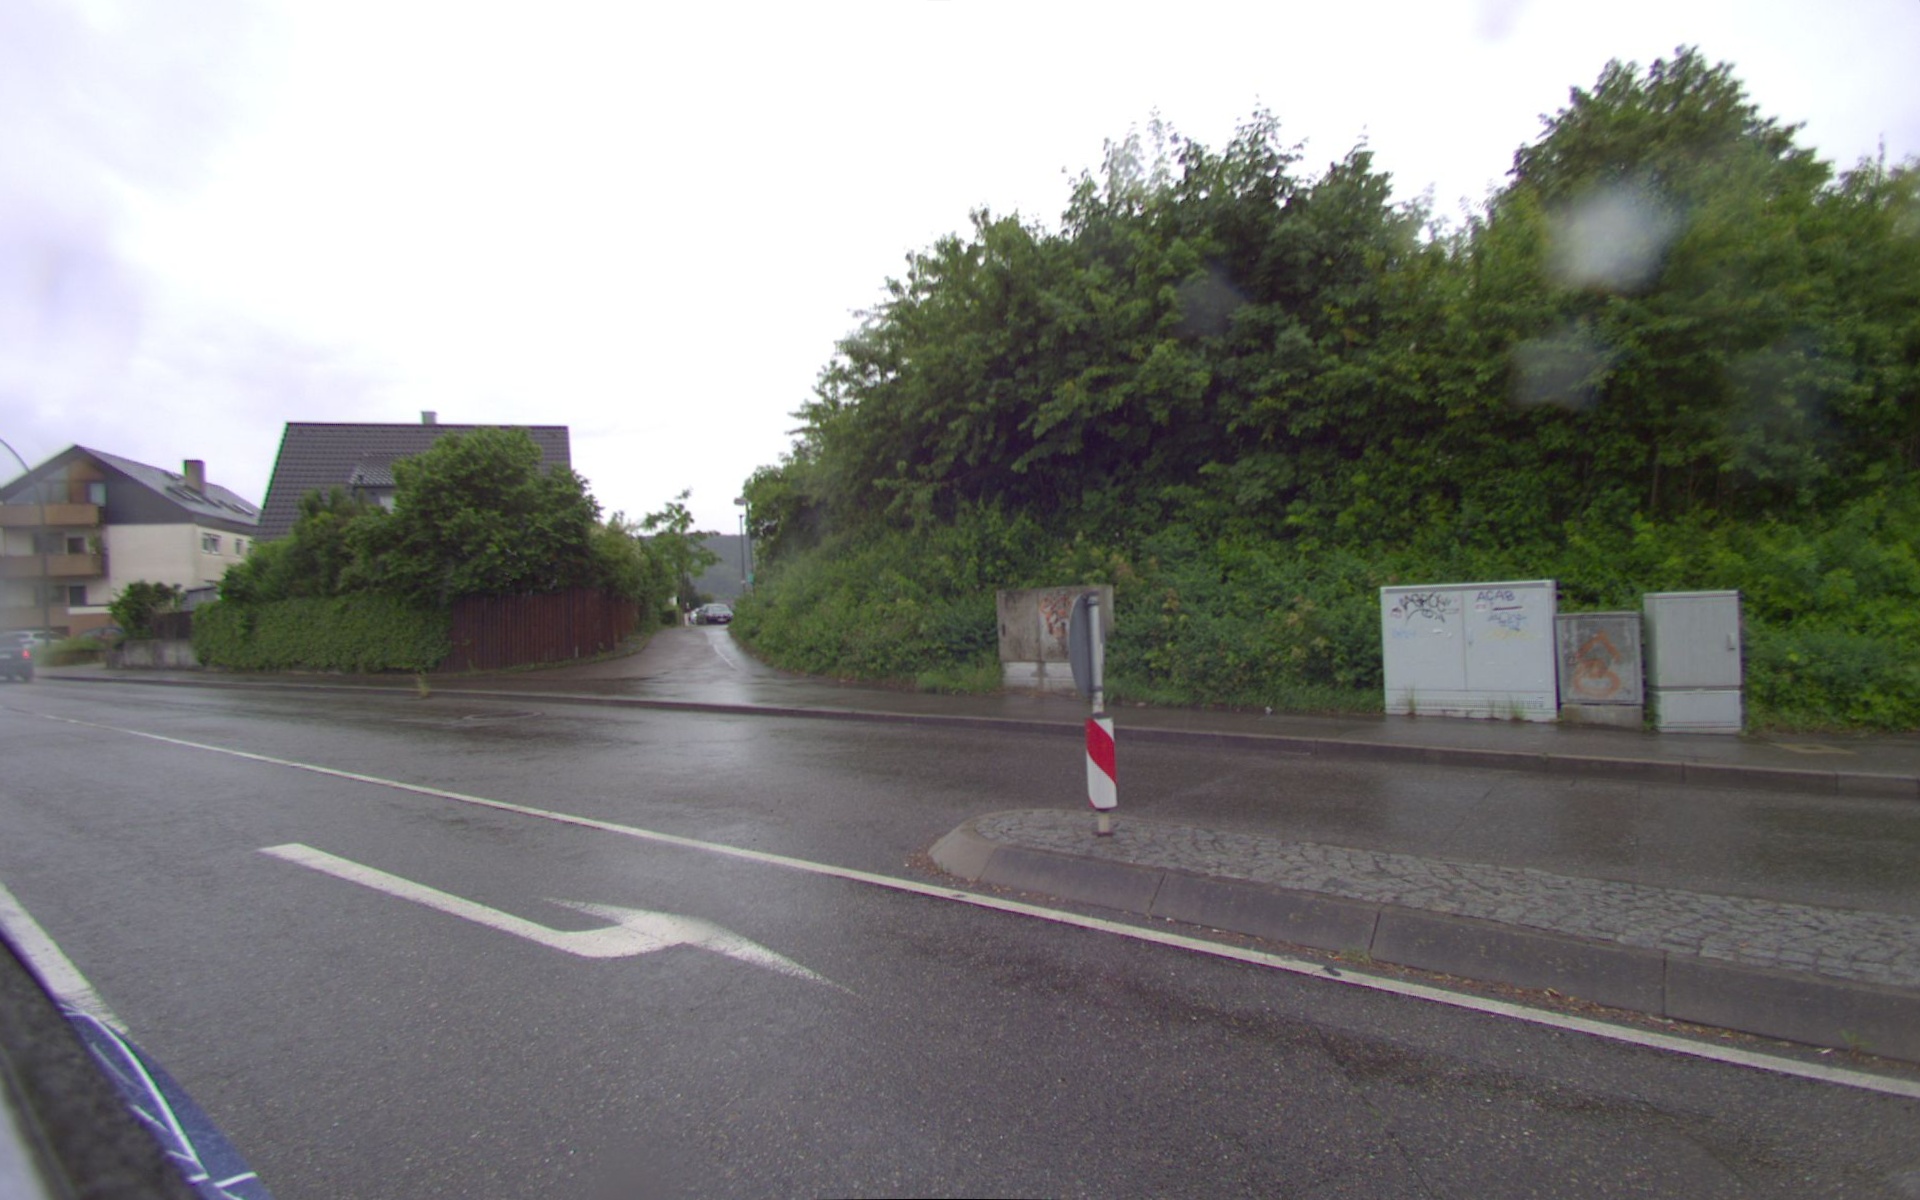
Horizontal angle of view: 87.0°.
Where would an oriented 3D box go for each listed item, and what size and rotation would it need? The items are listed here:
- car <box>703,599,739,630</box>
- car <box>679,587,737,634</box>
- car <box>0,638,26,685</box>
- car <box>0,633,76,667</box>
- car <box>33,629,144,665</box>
[{"bbox_3d":[-15.583,0.941,66.174,1.968,1.873,4.008,-2,0,-9],"label":"car"},{"bbox_3d":[-9.167,0.359,37.053,1.683,1.600,3.668,-1,0,-8],"label":"car"},{"bbox_3d":[-30.390,1.901,31.212,3.453,1.397,1.661,-2,0,35],"label":"car"},{"bbox_3d":[-46.804,2.500,51.044,1.837,1.530,4.012,-2,0,-18],"label":"car"},{"bbox_3d":[-41.632,2.226,48.408,3.609,1.530,1.759,-2,0,-15],"label":"car"}]
